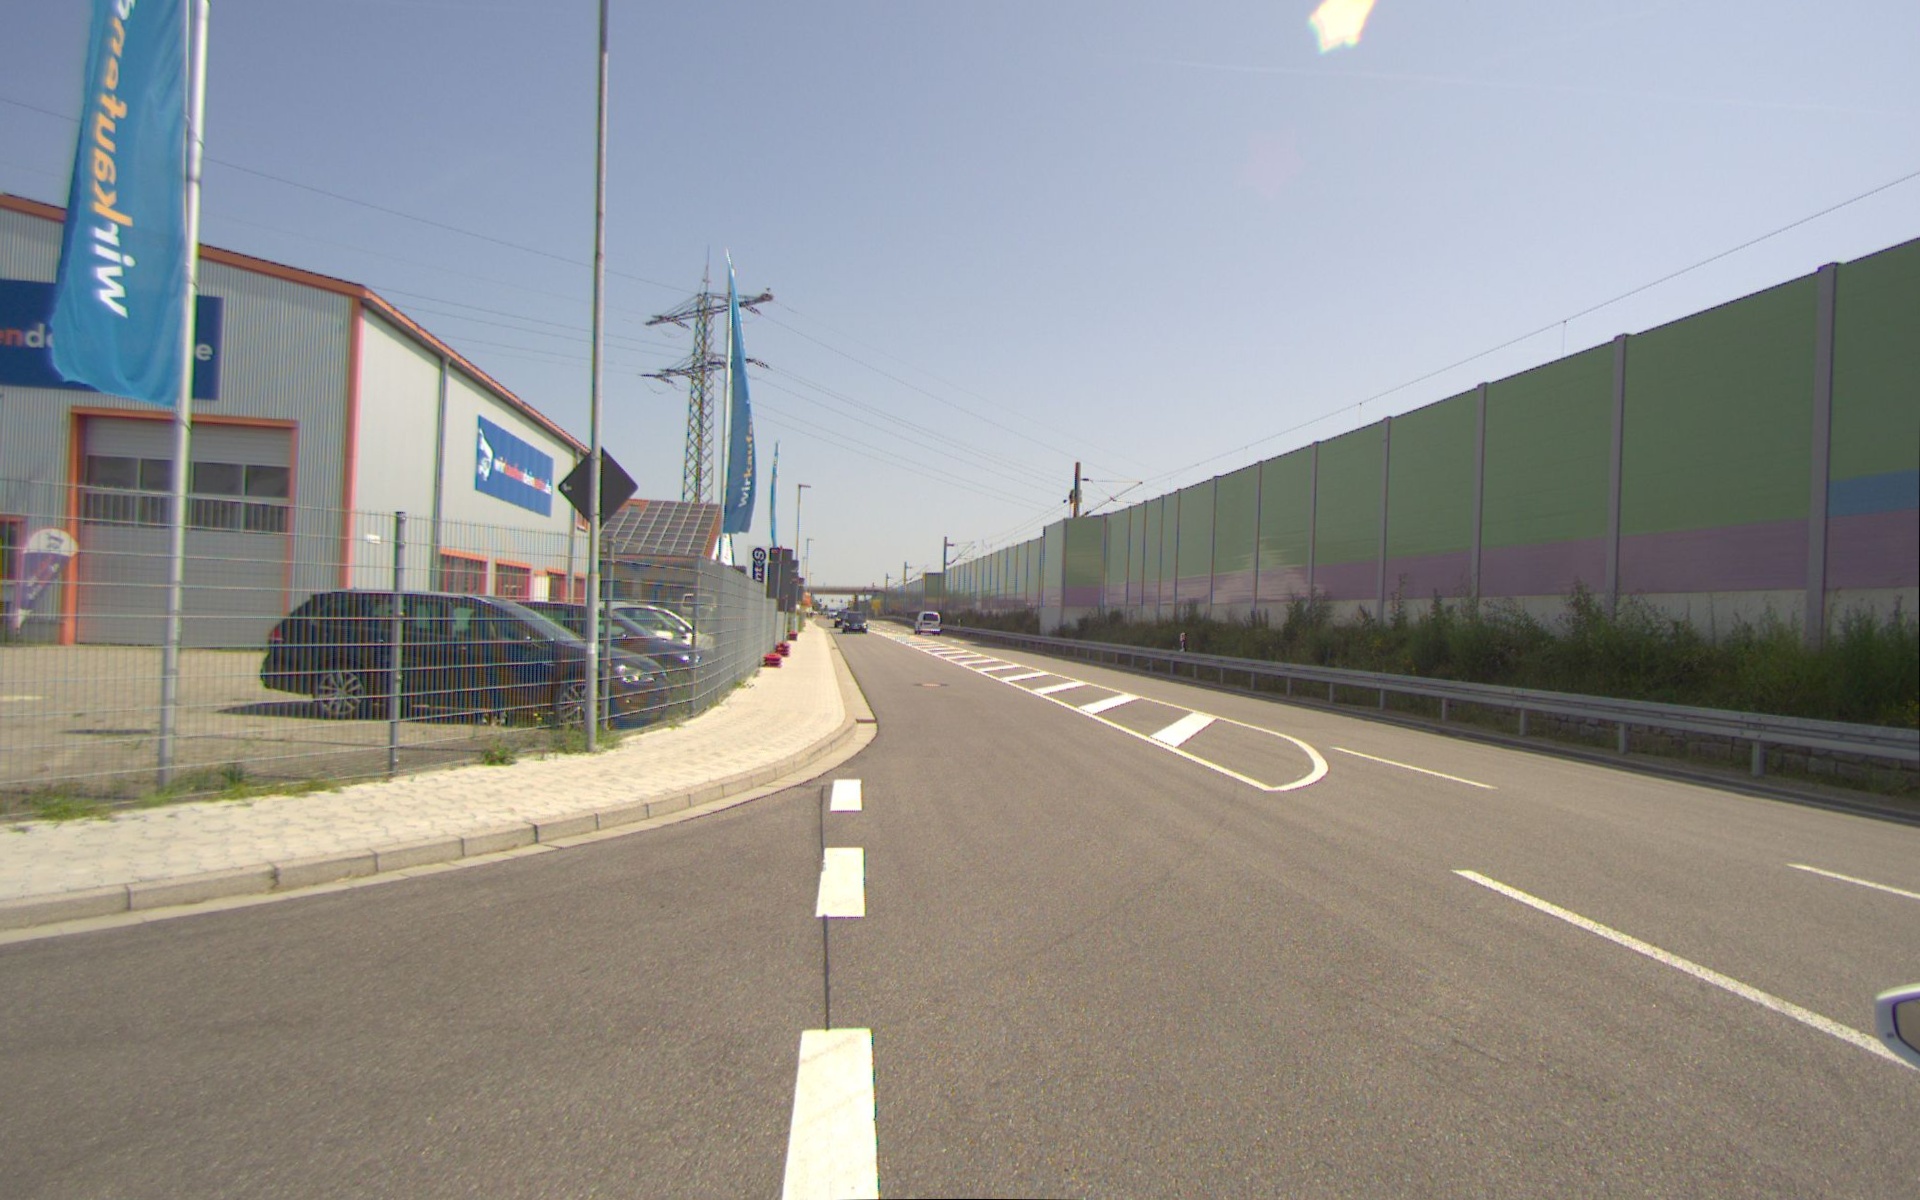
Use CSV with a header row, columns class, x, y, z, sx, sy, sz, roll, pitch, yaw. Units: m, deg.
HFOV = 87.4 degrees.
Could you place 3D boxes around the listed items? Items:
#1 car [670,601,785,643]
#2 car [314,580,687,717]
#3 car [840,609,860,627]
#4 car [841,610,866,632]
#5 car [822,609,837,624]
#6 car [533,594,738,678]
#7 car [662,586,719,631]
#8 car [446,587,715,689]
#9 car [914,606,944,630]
class,x,y,z,sx,sy,sz,roll,pitch,yaw
car,-9.131,0.882,39.657,4.066,1.513,1.721,3,-1,-44
car,-5.576,0.598,12.711,3.930,1.522,1.771,2,0,-12
car,-10.751,1.725,97.776,1.852,1.638,4.517,0,-1,-7
car,-8.101,1.554,76.197,1.715,1.615,3.791,0,0,-8
car,-18.845,2.323,144.759,1.963,2.040,3.995,2,-1,-8
car,-6.249,0.708,19.420,3.451,1.484,1.575,3,-1,-34
car,-13.005,0.447,48.689,1.963,2.040,4.676,2,-1,-7
car,-6.125,0.626,16.663,3.934,1.522,1.769,2,0,-15
car,-2.478,1.440,79.467,1.963,1.780,3.996,2,-1,-6
